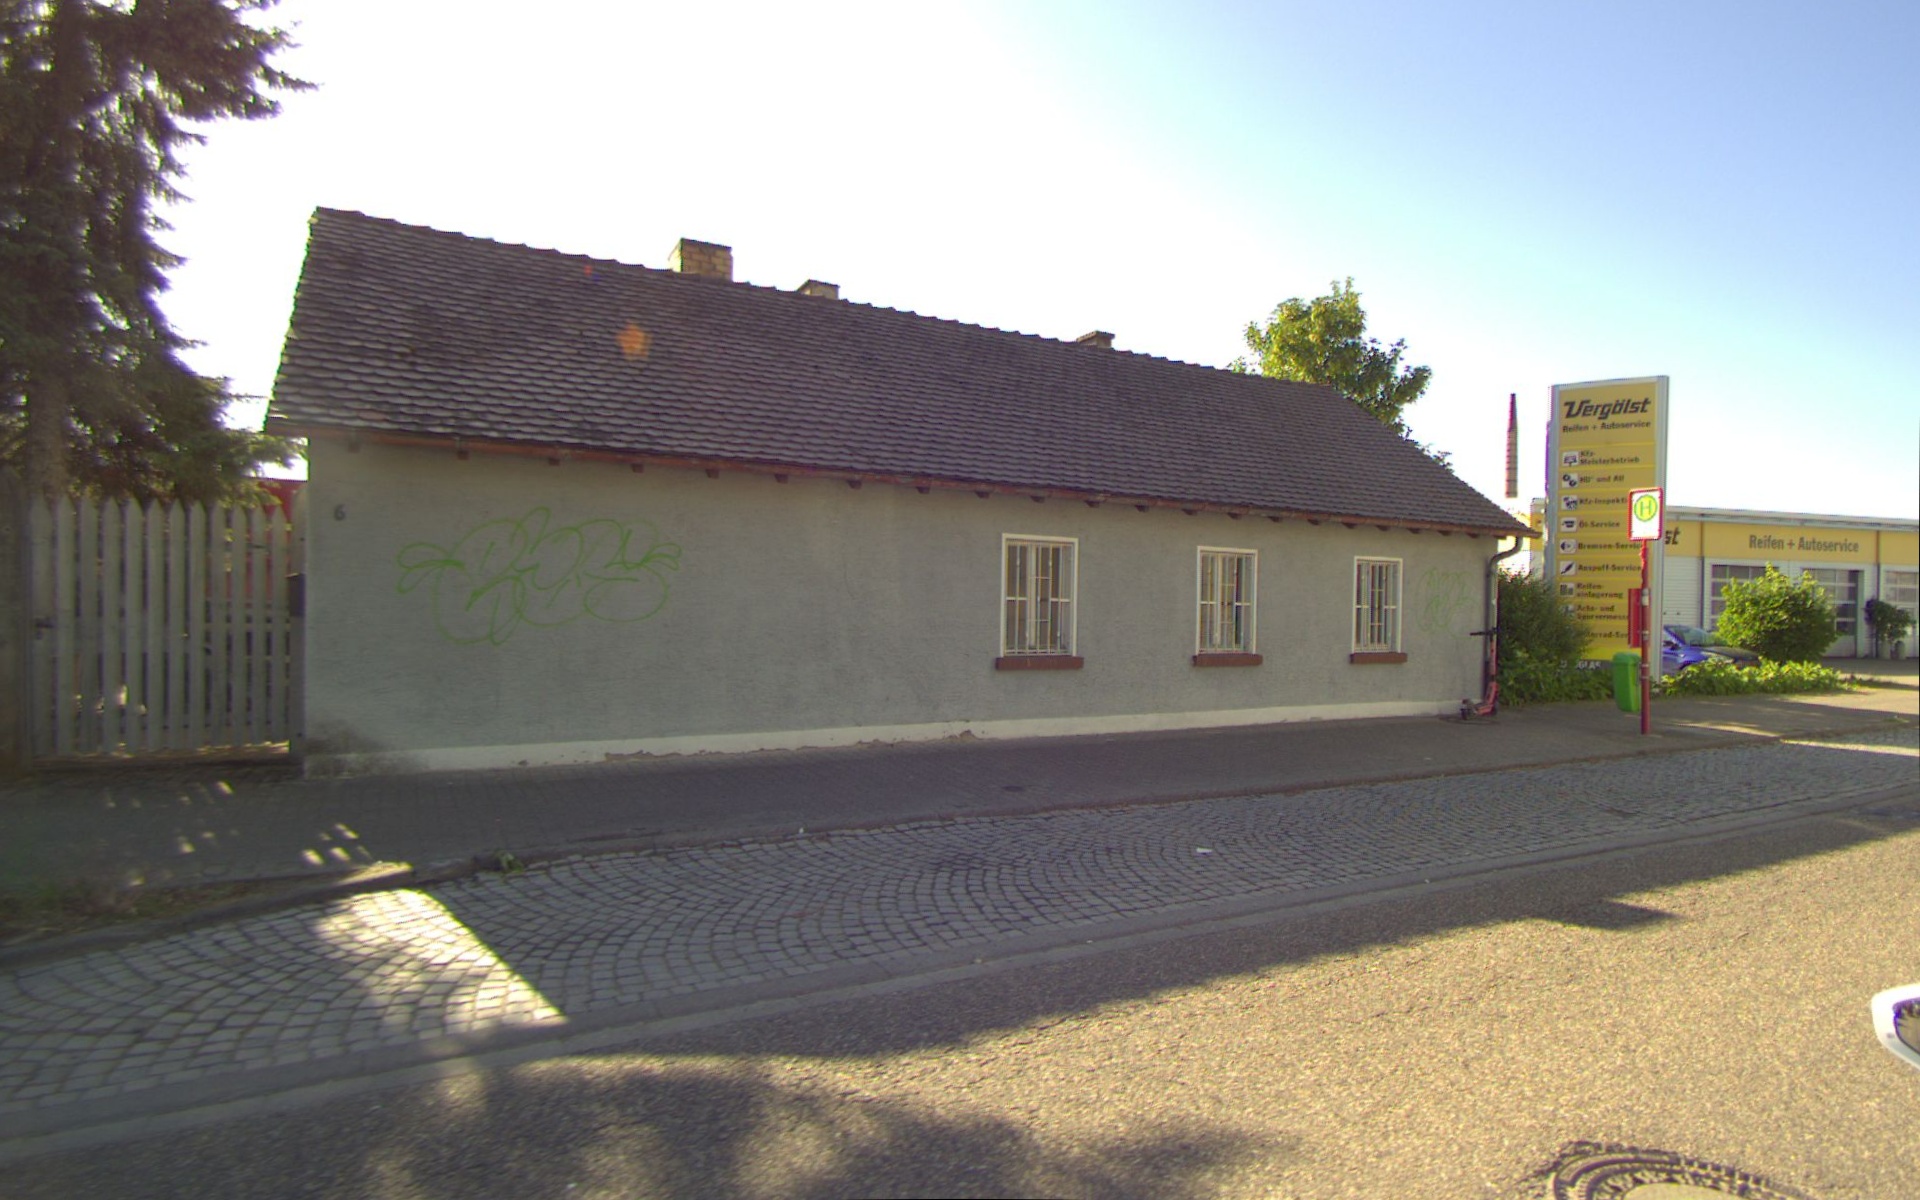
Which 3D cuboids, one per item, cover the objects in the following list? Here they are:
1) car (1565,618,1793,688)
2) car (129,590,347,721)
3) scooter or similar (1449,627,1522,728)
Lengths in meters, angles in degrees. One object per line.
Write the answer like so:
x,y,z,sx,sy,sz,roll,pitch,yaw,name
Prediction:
17.538,1.228,24.796,1.966,1.528,4.346,1,-1,-15,car
-12.276,0.857,17.440,1.887,1.960,4.456,1,-1,-20,car
7.177,1.021,13.683,0.476,1.287,1.569,0,0,43,scooter or similar
